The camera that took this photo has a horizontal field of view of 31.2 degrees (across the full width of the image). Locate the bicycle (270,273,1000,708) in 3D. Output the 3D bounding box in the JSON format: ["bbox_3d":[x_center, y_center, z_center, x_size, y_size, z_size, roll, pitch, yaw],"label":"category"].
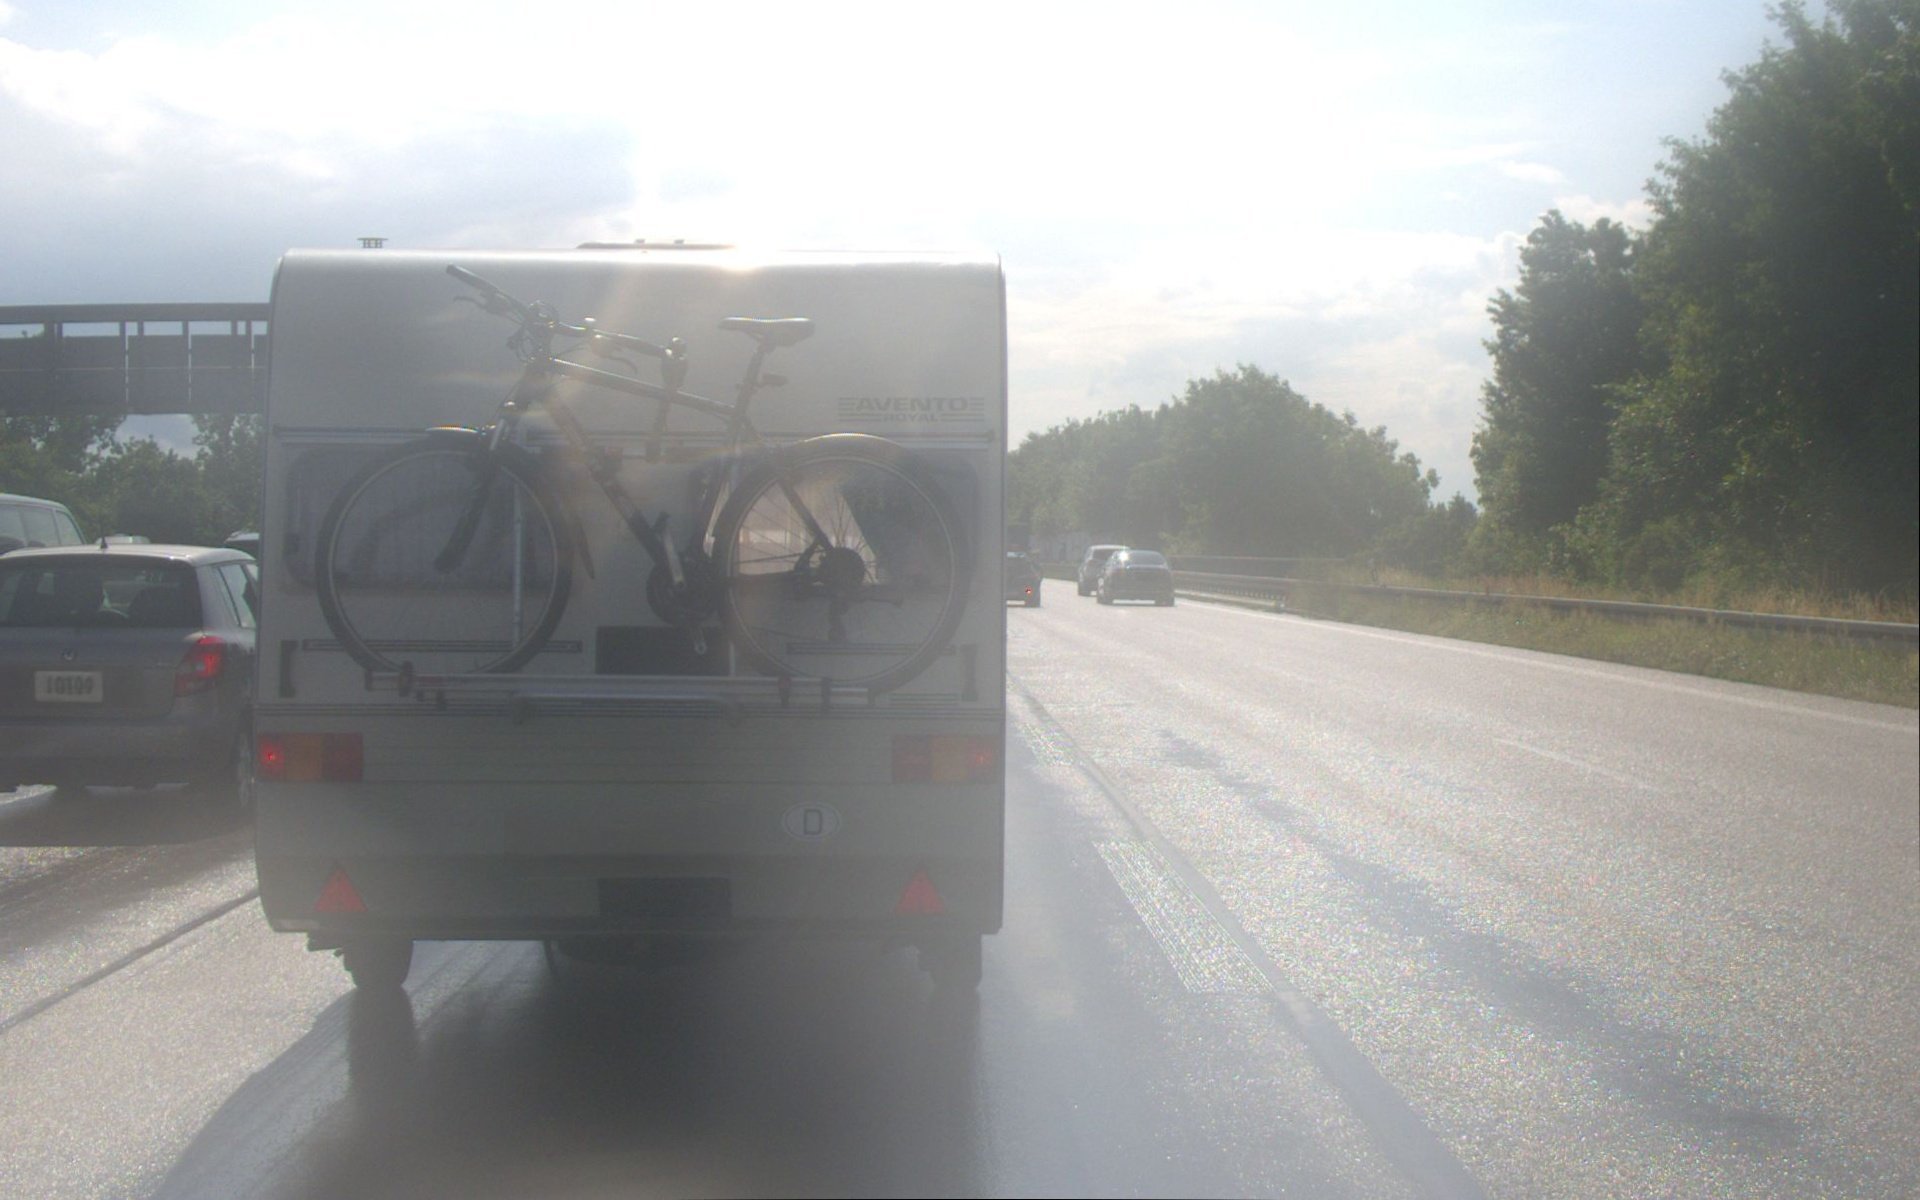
[{"bbox_3d":[-0.866,-0.294,9.355,1.934,1.137,0.384,1,0,1],"label":"bicycle"}]

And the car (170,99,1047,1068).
[{"bbox_3d":[-0.985,-0.068,11.562,2.410,2.665,4.000,1,1,0],"label":"car"}]

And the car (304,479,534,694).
[{"bbox_3d":[-5.354,-0.152,34.461,1.876,2.007,4.001,1,1,-3],"label":"car"}]

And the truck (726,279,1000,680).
[{"bbox_3d":[-1.302,-1.467,45.097,3.146,4.610,10.737,0,1,-2],"label":"truck"}]

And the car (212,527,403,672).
[{"bbox_3d":[-7.916,-0.029,41.996,1.771,1.656,4.001,1,1,-3],"label":"car"}]

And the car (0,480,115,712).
[{"bbox_3d":[-8.975,-0.072,30.481,1.848,1.927,5.017,0,1,-1],"label":"car"}]

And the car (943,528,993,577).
[{"bbox_3d":[0.260,-1.671,121.128,1.719,1.678,4.000,0,1,0],"label":"car"}]

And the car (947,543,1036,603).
[{"bbox_3d":[0.817,-0.725,91.503,1.835,1.552,4.001,1,1,-7],"label":"car"}]

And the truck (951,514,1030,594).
[{"bbox_3d":[0.921,-1.458,107.959,2.415,2.435,6.053,0,1,0],"label":"truck"}]

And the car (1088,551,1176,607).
[{"bbox_3d":[4.714,-0.584,94.799,1.876,1.489,4.001,1,1,-5],"label":"car"}]

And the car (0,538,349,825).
[{"bbox_3d":[-4.789,0.381,19.444,1.987,1.453,3.827,0,1,0],"label":"car"}]

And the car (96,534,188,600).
[{"bbox_3d":[-25.548,-1.047,107.490,1.993,2.007,4.363,0,1,-3],"label":"car"}]

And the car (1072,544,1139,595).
[{"bbox_3d":[4.751,-1.004,112.734,1.876,1.623,4.000,1,1,-2],"label":"car"}]
